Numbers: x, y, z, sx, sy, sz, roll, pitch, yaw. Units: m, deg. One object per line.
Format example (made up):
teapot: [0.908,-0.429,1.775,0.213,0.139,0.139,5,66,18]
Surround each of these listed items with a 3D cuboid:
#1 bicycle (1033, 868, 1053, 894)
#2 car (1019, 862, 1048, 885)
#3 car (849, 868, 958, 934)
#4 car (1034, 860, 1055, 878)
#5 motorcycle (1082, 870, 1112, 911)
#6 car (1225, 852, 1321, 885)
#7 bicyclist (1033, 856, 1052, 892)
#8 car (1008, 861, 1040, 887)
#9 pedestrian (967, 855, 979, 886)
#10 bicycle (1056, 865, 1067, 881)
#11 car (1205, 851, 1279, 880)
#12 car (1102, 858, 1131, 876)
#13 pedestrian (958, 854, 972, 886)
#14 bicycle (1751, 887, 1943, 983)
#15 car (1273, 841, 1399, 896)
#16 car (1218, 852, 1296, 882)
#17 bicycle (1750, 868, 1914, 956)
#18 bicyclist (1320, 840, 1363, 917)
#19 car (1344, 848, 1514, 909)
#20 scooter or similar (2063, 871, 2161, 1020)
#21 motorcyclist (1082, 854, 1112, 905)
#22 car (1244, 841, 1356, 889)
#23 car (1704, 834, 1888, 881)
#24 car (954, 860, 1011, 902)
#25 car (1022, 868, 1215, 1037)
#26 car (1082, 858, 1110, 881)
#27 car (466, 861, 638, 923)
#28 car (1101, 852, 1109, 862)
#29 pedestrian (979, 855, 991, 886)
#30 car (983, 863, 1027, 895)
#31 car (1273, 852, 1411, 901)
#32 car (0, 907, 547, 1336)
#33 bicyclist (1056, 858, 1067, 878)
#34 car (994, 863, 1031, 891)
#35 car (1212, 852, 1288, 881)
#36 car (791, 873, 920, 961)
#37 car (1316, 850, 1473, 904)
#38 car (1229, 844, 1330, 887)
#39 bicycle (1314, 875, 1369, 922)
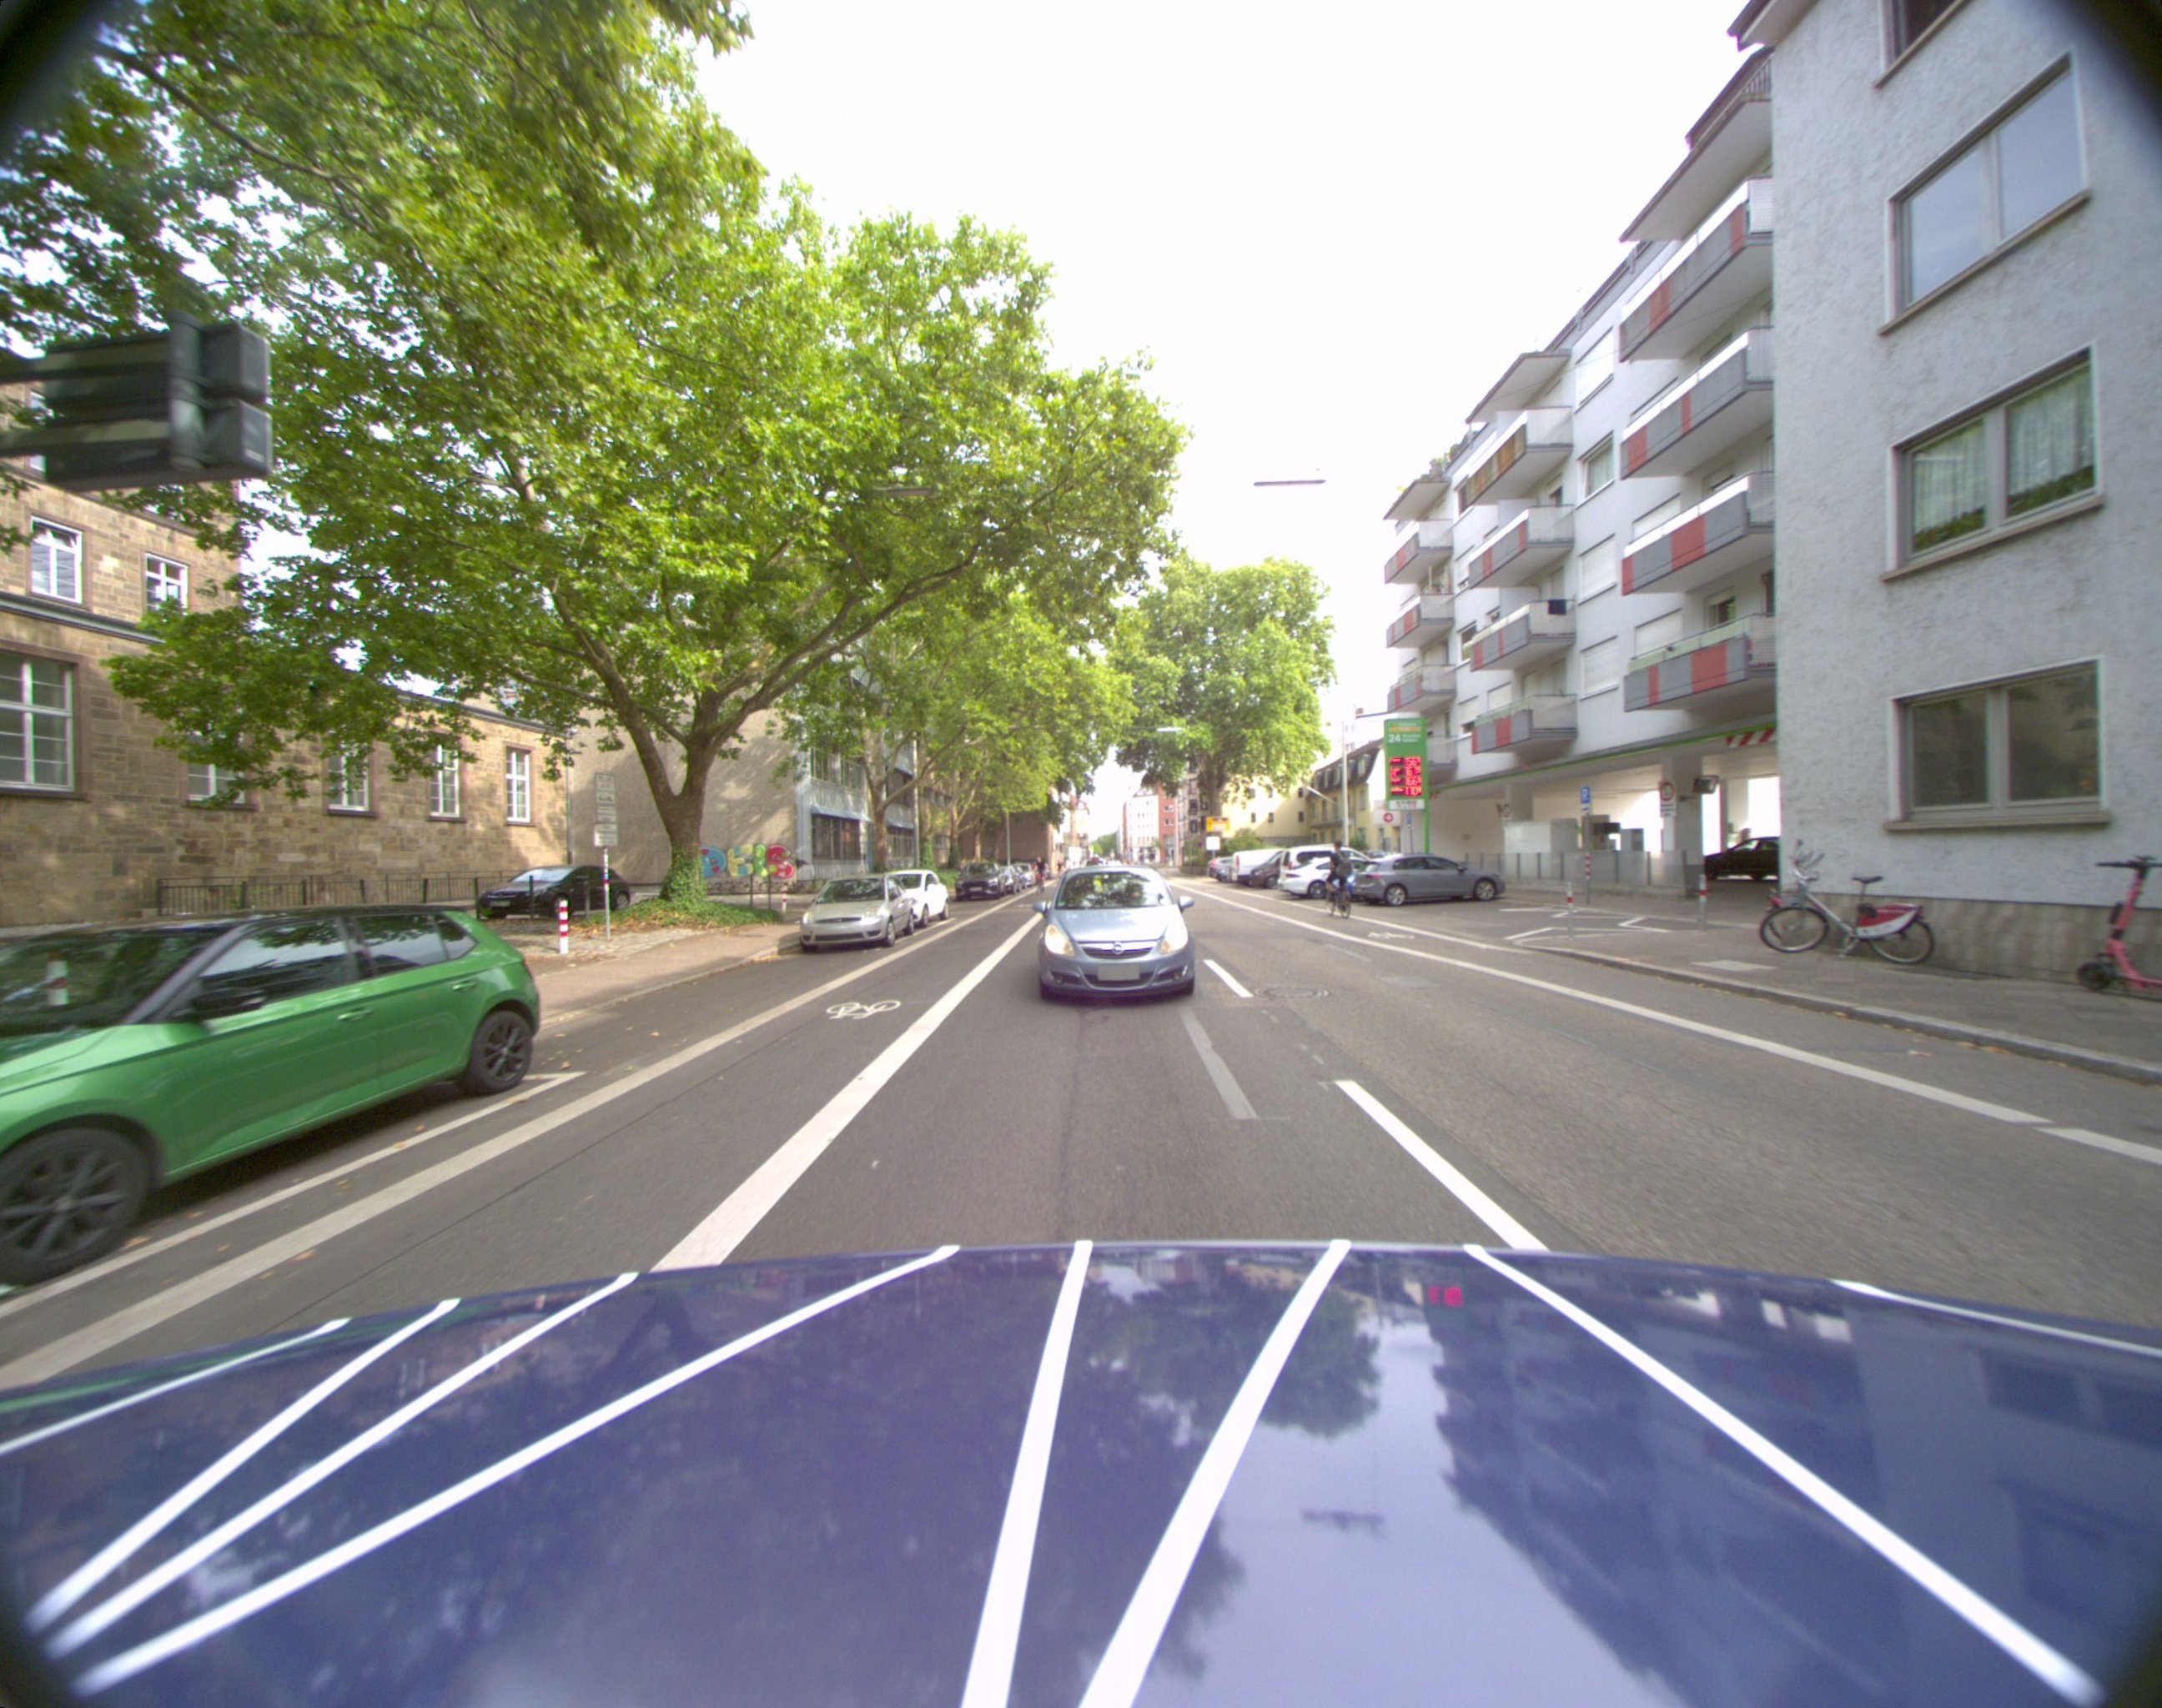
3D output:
bicycle: [-1.848,1.291,37.009,0.763,1.162,1.950,-2,0,2]
car: [-3.359,1.365,54.469,1.602,1.438,4.105,-3,0,2]
car: [-4.658,1.189,20.528,1.758,1.438,4.219,-3,0,2]
car: [-3.318,1.343,69.453,1.602,1.516,3.956,-3,0,2]
motorcycle: [0.517,1.145,24.448,0.904,1.190,2.631,-1,0,1]
car: [10.444,0.758,41.625,4.716,1.461,1.874,-4,0,2]
bicyclist: [-1.862,0.954,36.957,0.764,1.698,0.917,-2,0,2]
car: [-3.645,1.277,49.212,1.602,1.496,4.441,-3,0,2]
pedestrian: [-6.267,0.956,44.091,0.502,1.775,0.527,2,1,0]
bicycle: [-1.522,1.479,59.902,0.763,1.162,1.950,-2,0,2]
car: [10.675,0.781,50.560,4.529,1.596,1.754,-4,0,2]
car: [3.383,1.258,73.269,1.937,1.637,3.996,-1,0,-10]
pedestrian: [-6.766,0.951,44.382,0.643,1.823,0.645,2,1,0]
bicycle: [8.986,0.904,9.016,0.598,0.945,1.663,-2,0,1]
car: [9.963,0.558,29.954,4.221,1.837,1.924,-4,0,2]
car: [10.705,0.797,46.398,4.275,1.502,1.719,-4,0,2]
bicycle: [10.372,0.792,10.524,1.775,1.111,0.453,-2,0,1]
bicyclist: [6.321,0.573,18.457,0.653,1.800,1.045,-2,1,1]
car: [10.275,0.702,22.674,4.161,1.504,1.837,-4,0,2]
scooter or similar: [9.108,0.765,6.306,0.350,1.214,1.202,-2,0,1]
motorcyclist: [0.515,0.820,24.448,0.904,1.608,0.691,-1,0,1]
car: [10.512,0.523,36.716,4.778,1.923,1.994,-4,0,2]
car: [21.823,0.106,23.439,1.912,1.290,4.000,-1,0,1]
car: [-4.314,1.139,34.008,1.926,1.612,4.481,-3,0,0]
car: [0.389,0.938,9.030,1.716,1.412,4.253,-2,0,1]
car: [1.126,1.123,57.767,2.000,1.556,4.551,-2,0,1]
car: [-14.137,1.000,20.647,1.673,1.441,4.299,-2,-2,0]
car: [6.316,0.674,198.451,1.998,2.546,4.799,-2,0,2]
pedestrian: [-5.562,0.942,44.095,0.592,1.775,0.476,2,1,0]
car: [-3.880,1.263,39.363,1.643,1.424,4.574,-3,0,2]
car: [9.283,0.794,27.300,4.281,1.442,1.874,-4,0,2]
car: [-5.009,1.185,4.054,1.591,1.441,3.805,-4,0,-1]
bicyclist: [-1.526,1.096,59.906,0.748,1.590,0.819,-2,0,2]
car: [-3.893,1.307,43.793,1.602,1.414,3.956,-3,0,2]
car: [10.703,0.789,48.243,4.372,1.540,1.733,-4,0,2]
car: [-4.513,1.189,15.788,1.647,1.438,3.881,-3,0,-3]
car: [10.171,0.739,24.931,4.311,1.442,1.910,-4,0,2]
car: [10.175,0.591,39.191,4.627,1.848,1.950,-4,0,2]
bicycle: [6.345,1.058,18.620,0.647,1.008,2.077,-2,0,1]
